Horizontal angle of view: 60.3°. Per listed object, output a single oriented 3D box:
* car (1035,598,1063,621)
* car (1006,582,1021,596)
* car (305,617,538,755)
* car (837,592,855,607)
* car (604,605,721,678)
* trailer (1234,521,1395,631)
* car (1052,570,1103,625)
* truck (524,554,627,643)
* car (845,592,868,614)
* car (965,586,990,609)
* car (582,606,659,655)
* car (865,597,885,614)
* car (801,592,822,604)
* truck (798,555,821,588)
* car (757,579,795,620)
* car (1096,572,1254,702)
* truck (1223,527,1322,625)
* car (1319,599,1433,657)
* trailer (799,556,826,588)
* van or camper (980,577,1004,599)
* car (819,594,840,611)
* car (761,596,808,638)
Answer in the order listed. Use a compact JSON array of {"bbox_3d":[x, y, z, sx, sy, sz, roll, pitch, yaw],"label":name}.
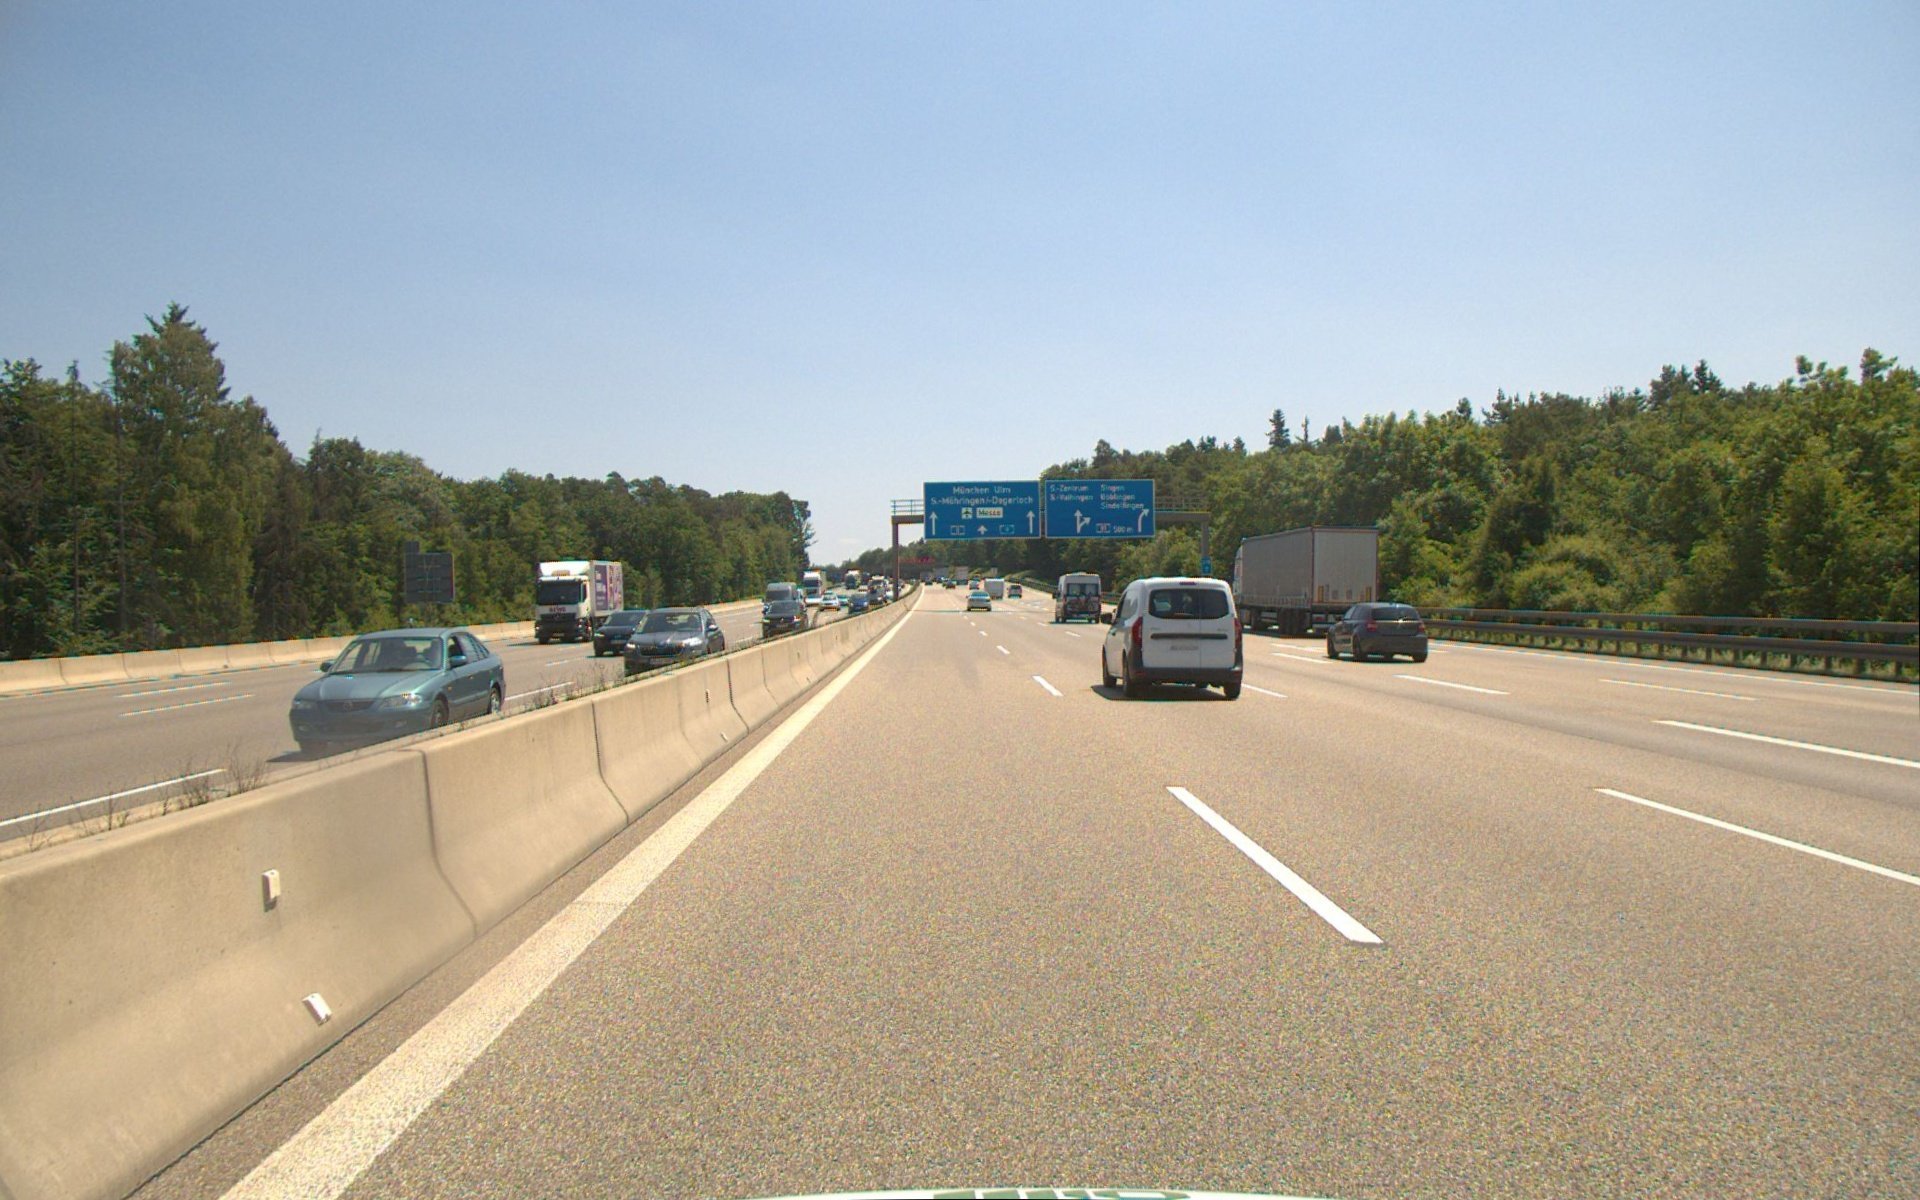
[{"bbox_3d":[6.819,0.719,127.124,1.781,1.668,3.999,-2,0,-1],"label":"car"},{"bbox_3d":[7.064,-1.458,218.272,1.783,1.892,3.999,-1,1,-1],"label":"car"},{"bbox_3d":[-7.026,1.055,22.050,1.682,1.538,4.350,-2,0,-1],"label":"car"},{"bbox_3d":[-12.090,-0.102,174.824,1.644,1.469,3.993,-2,0,-1],"label":"car"},{"bbox_3d":[-6.198,0.833,34.880,1.717,1.401,4.490,0,0,-1],"label":"car"},{"bbox_3d":[14.132,-0.970,67.435,3.221,3.999,13.887,0,1,-1],"label":"trailer"},{"bbox_3d":[6.106,-0.150,86.583,2.100,2.698,5.708,-2,0,-1],"label":"car"},{"bbox_3d":[-18.591,-0.040,80.583,2.664,4.008,10.233,-2,0,-1],"label":"truck"},{"bbox_3d":[-8.389,0.224,134.810,1.670,1.691,3.759,-1,0,-1],"label":"car"},{"bbox_3d":[1.342,-0.188,127.094,1.805,1.657,4.552,-2,0,-1],"label":"car"},{"bbox_3d":[-11.517,0.996,56.402,1.683,1.474,4.907,-2,1,-2],"label":"car"},{"bbox_3d":[-8.858,0.582,171.962,1.832,1.634,5.227,-2,0,-1],"label":"car"},{"bbox_3d":[-16.657,-0.230,185.228,1.952,1.329,4.844,-1,0,-1],"label":"car"},{"bbox_3d":[-21.155,-3.988,232.528,2.704,4.294,6.376,-2,0,-1],"label":"truck"},{"bbox_3d":[-12.552,-0.048,113.202,1.891,2.652,7.229,-2,1,-1],"label":"car"},{"bbox_3d":[3.355,0.547,26.593,1.822,1.857,4.611,-2,0,-1],"label":"car"},{"bbox_3d":[13.938,-1.060,74.206,3.188,4.178,5.986,0,1,-1],"label":"truck"},{"bbox_3d":[10.262,0.720,41.099,1.636,1.296,4.288,-2,-2,-1],"label":"car"},{"bbox_3d":[-21.286,-3.986,239.422,2.699,4.320,13.715,-2,0,-1],"label":"trailer"},{"bbox_3d":[3.869,-1.445,202.487,2.591,2.583,6.500,-1,0,-1],"label":"van or camper"},{"bbox_3d":[-12.230,0.207,154.738,1.644,1.469,4.525,-2,0,-1],"label":"car"},{"bbox_3d":[-7.462,0.702,70.410,1.581,1.691,3.849,-1,0,0],"label":"car"}]
